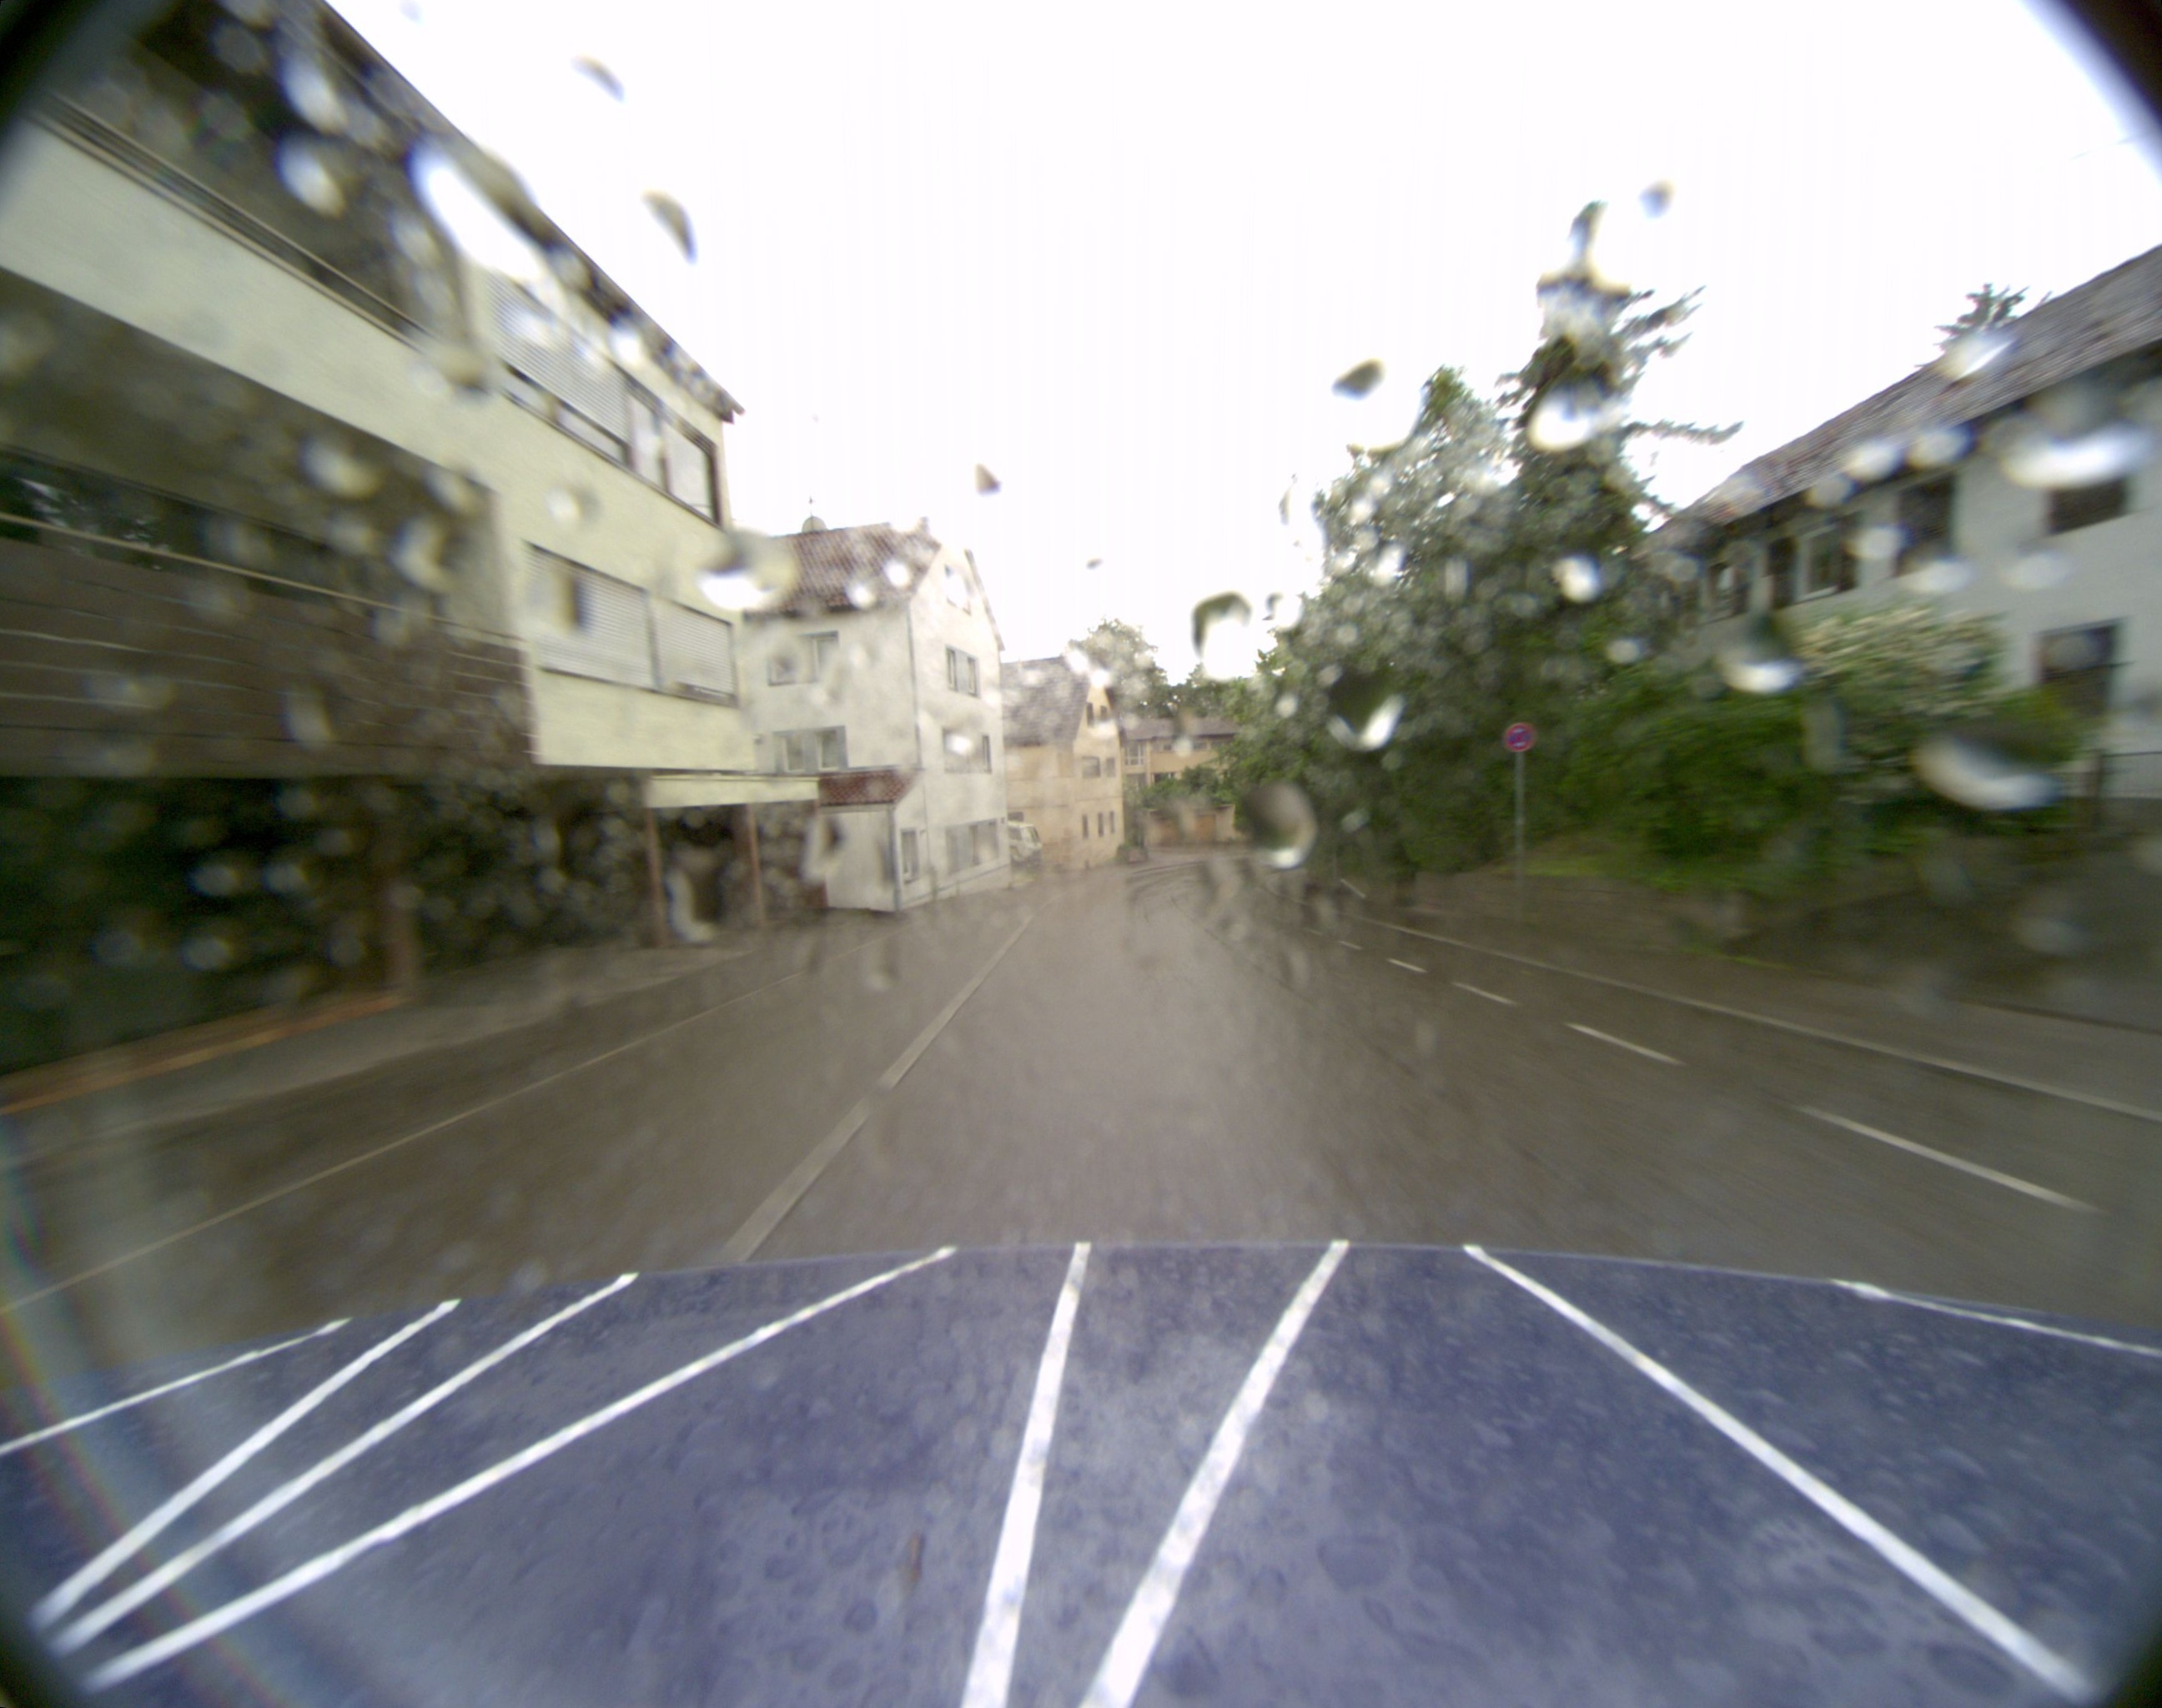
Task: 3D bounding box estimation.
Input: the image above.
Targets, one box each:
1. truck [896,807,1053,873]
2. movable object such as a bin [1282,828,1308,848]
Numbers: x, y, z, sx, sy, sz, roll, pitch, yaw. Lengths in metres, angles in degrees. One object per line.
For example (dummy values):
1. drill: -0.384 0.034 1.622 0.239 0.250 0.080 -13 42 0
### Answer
1. truck: -5.035 -0.701 35.887 6.964 2.688 2.142 3 3 15
2. movable object such as a bin: 16.919 -1.282 60.113 1.486 1.403 1.156 -2 8 -19
